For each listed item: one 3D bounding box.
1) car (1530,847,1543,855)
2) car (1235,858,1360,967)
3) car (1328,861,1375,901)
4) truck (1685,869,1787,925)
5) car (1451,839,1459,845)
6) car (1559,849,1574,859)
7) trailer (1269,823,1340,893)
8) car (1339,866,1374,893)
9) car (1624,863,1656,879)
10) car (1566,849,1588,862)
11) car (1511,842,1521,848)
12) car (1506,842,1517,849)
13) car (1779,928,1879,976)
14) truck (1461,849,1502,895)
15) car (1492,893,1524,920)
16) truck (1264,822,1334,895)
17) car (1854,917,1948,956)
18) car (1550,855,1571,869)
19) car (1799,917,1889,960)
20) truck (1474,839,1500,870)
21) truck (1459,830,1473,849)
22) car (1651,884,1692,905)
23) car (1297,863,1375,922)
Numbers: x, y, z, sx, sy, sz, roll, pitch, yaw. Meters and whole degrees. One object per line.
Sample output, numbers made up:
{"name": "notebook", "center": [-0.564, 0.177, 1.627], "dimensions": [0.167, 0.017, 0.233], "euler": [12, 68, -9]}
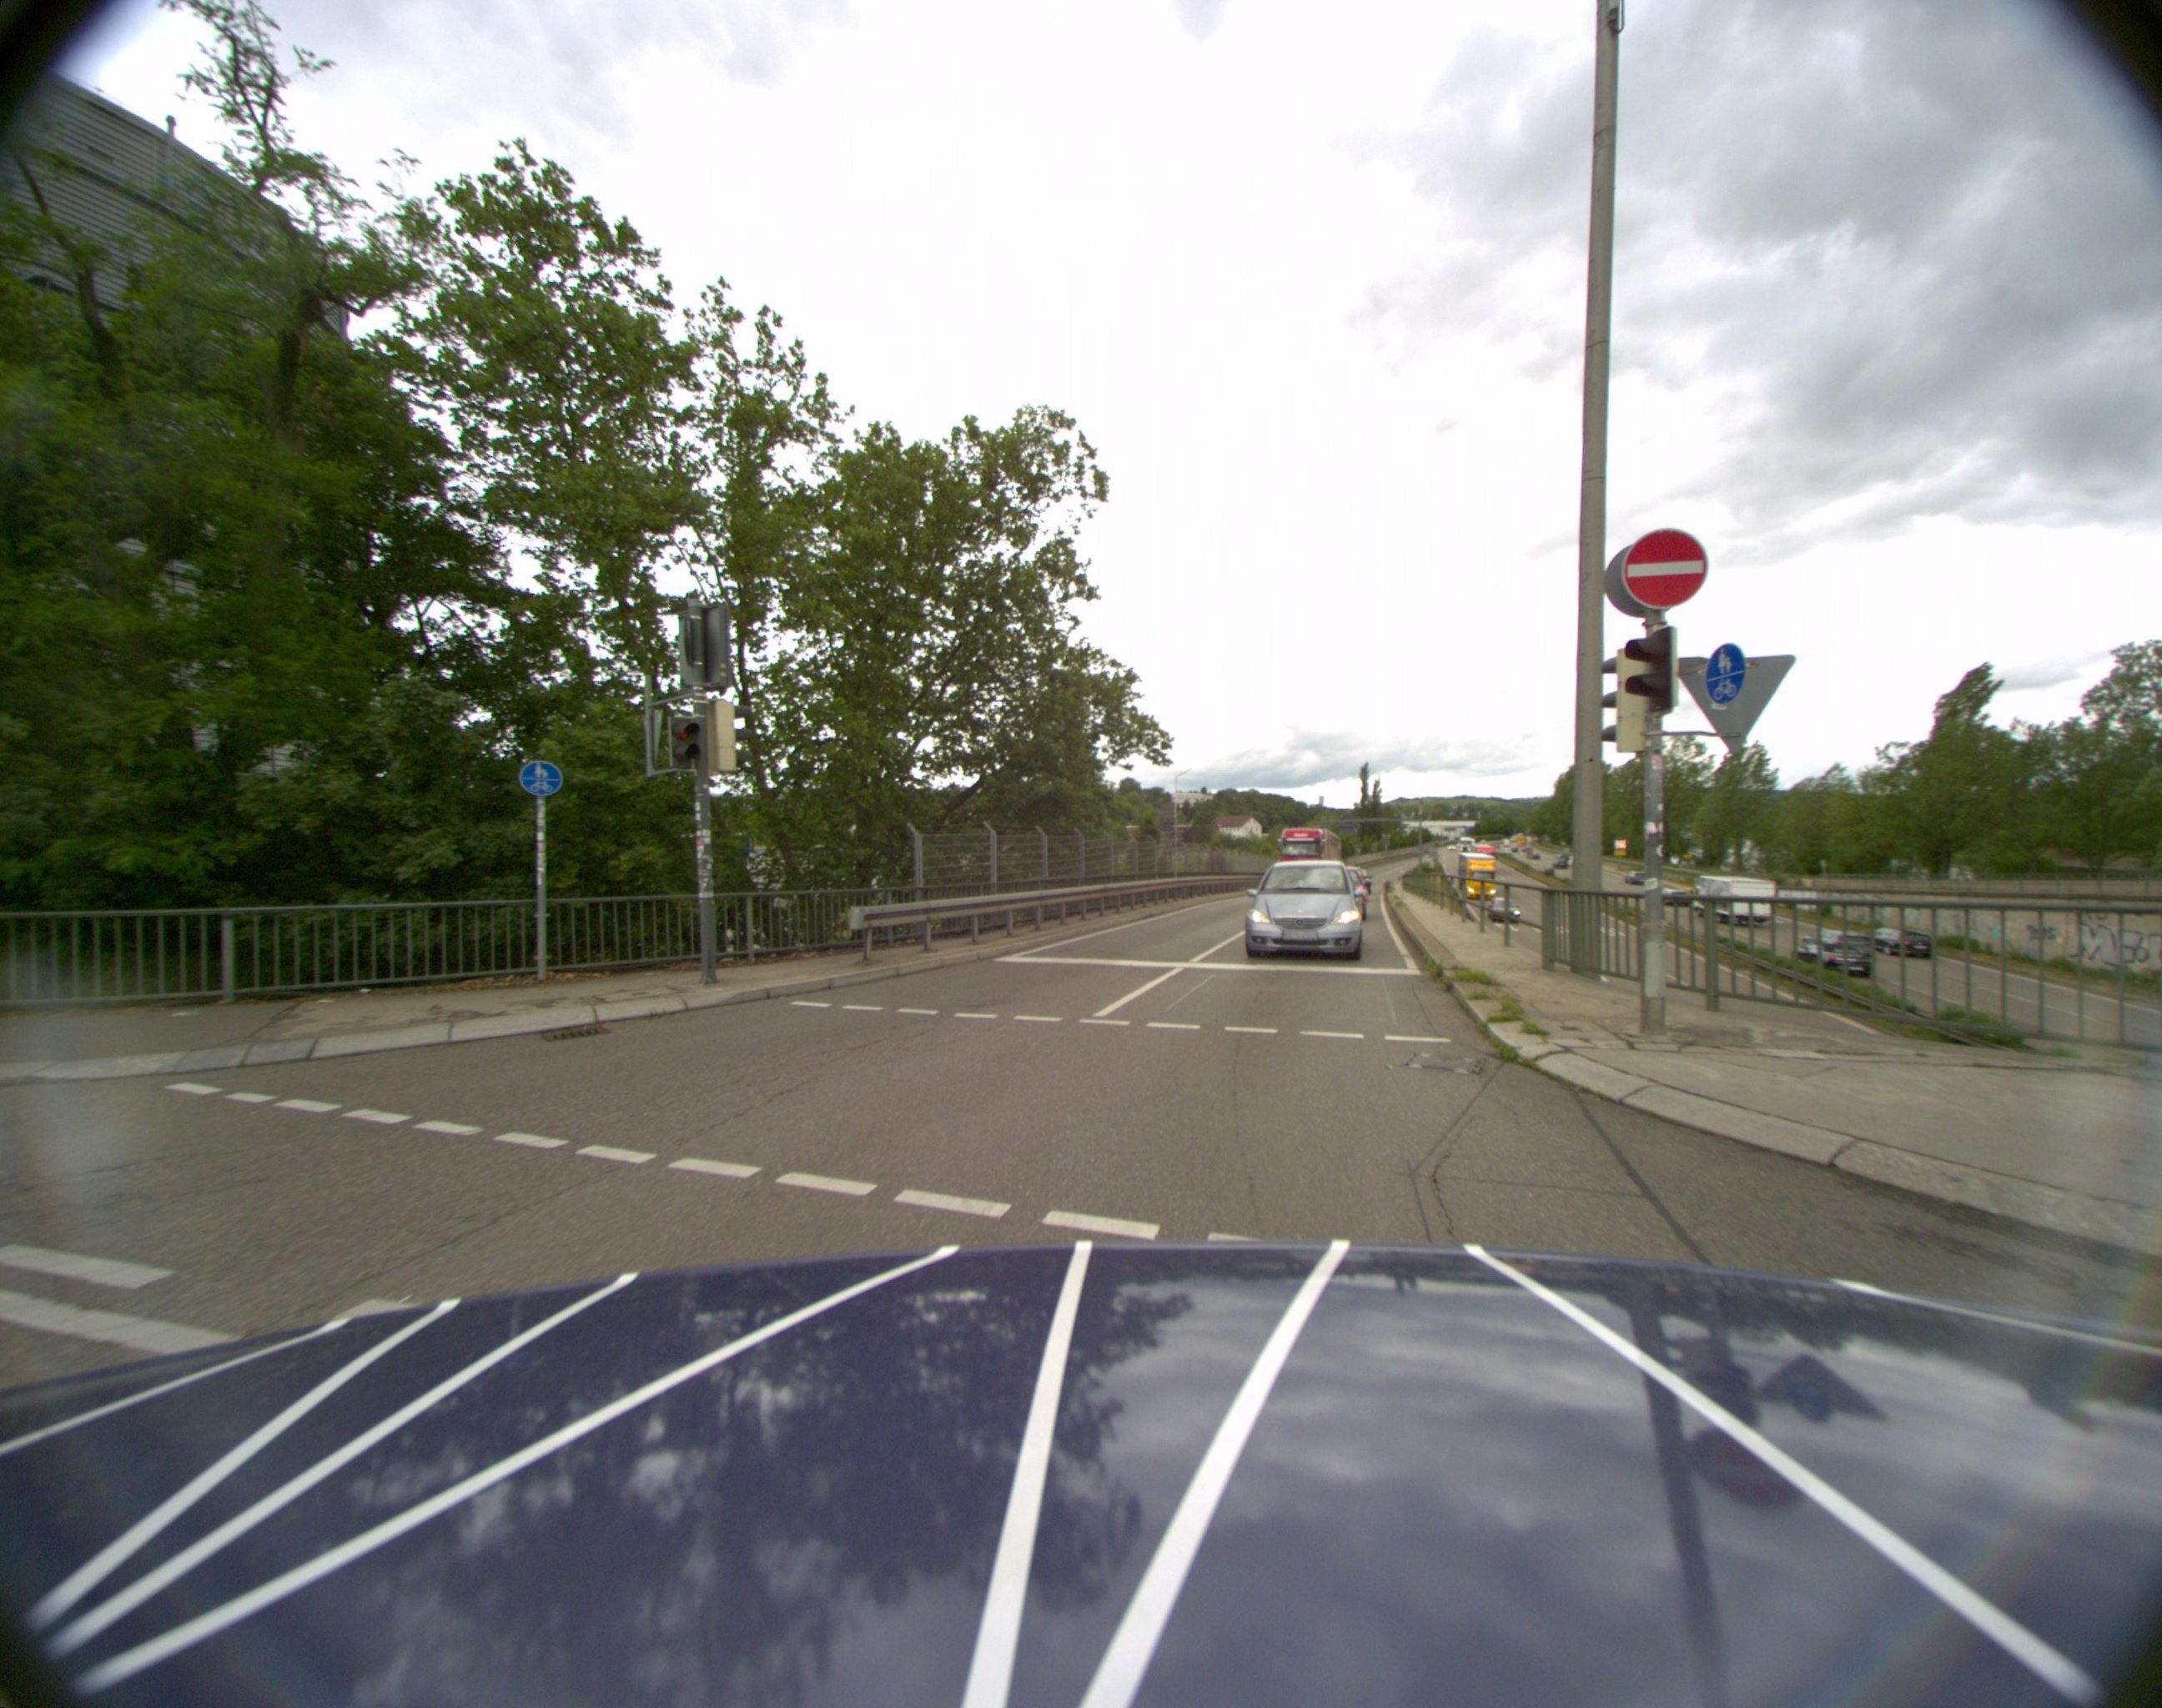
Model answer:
{"name": "car", "center": [98.003, -0.627, 163.432], "dimensions": [1.994, 1.707, 3.646], "euler": [2, 2, 26]}
{"name": "car", "center": [3.895, 0.883, 13.240], "dimensions": [1.744, 1.594, 3.688], "euler": [-1, 0, 21]}
{"name": "car", "center": [12.018, 1.157, 33.621], "dimensions": [1.693, 1.412, 4.473], "euler": [0, 2, 23]}
{"name": "truck", "center": [50.438, 3.146, 58.851], "dimensions": [3.585, 3.437, 8.252], "euler": [3, 3, 24]}
{"name": "car", "center": [115.226, -3.765, 234.038], "dimensions": [1.994, 1.707, 3.646], "euler": [2, 2, 27]}
{"name": "car", "center": [94.934, -0.044, 148.603], "dimensions": [1.994, 1.758, 3.489], "euler": [2, 2, 26]}
{"name": "trailer", "center": [16.219, 0.309, 54.133], "dimensions": [3.663, 4.295, 13.805], "euler": [-1, -1, 21]}
{"name": "car", "center": [16.115, 1.439, 44.380], "dimensions": [1.693, 1.412, 4.475], "euler": [0, 0, 23]}
{"name": "car", "center": [69.632, 2.097, 94.705], "dimensions": [1.995, 1.609, 4.333], "euler": [2, 4, 21]}
{"name": "car", "center": [86.406, 0.243, 132.450], "dimensions": [2.592, 2.003, 4.648], "euler": [2, 3, 25]}
{"name": "car", "center": [122.108, -2.597, 213.331], "dimensions": [1.994, 1.707, 3.646], "euler": [2, 2, 25]}
{"name": "car", "center": [111.918, -2.240, 197.503], "dimensions": [1.994, 1.707, 3.646], "euler": [2, 2, 26]}
{"name": "car", "center": [39.057, 5.051, 39.861], "dimensions": [2.331, 1.707, 4.738], "euler": [-2, 2, 26]}
{"name": "truck", "center": [41.492, 1.733, 78.987], "dimensions": [2.895, 4.161, 10.038], "euler": [3, 3, 24]}
{"name": "car", "center": [33.124, 4.062, 59.019], "dimensions": [1.875, 1.688, 3.846], "euler": [1, 2, 25]}
{"name": "truck", "center": [14.053, 0.293, 48.547], "dimensions": [3.663, 4.295, 7.247], "euler": [-1, 0, 21]}
{"name": "car", "center": [48.512, 4.834, 45.090], "dimensions": [2.133, 1.557, 4.431], "euler": [2, 3, 23]}
{"name": "car", "center": [80.001, 1.287, 126.790], "dimensions": [2.219, 2.003, 4.646], "euler": [2, 5, 25]}
{"name": "car", "center": [44.484, 4.885, 44.450], "dimensions": [2.133, 1.708, 4.431], "euler": [2, 3, 23]}
{"name": "truck", "center": [61.841, -0.062, 115.944], "dimensions": [2.883, 4.332, 13.277], "euler": [1, 3, 25]}
{"name": "truck", "center": [110.489, -4.218, 218.152], "dimensions": [3.370, 4.927, 13.957], "euler": [0, 2, 26]}
{"name": "car", "center": [55.323, 3.748, 71.230], "dimensions": [1.995, 1.609, 4.335], "euler": [2, 2, 24]}
{"name": "car", "center": [7.233, 1.003, 21.347], "dimensions": [1.744, 1.455, 3.961], "euler": [-1, 0, 23]}
